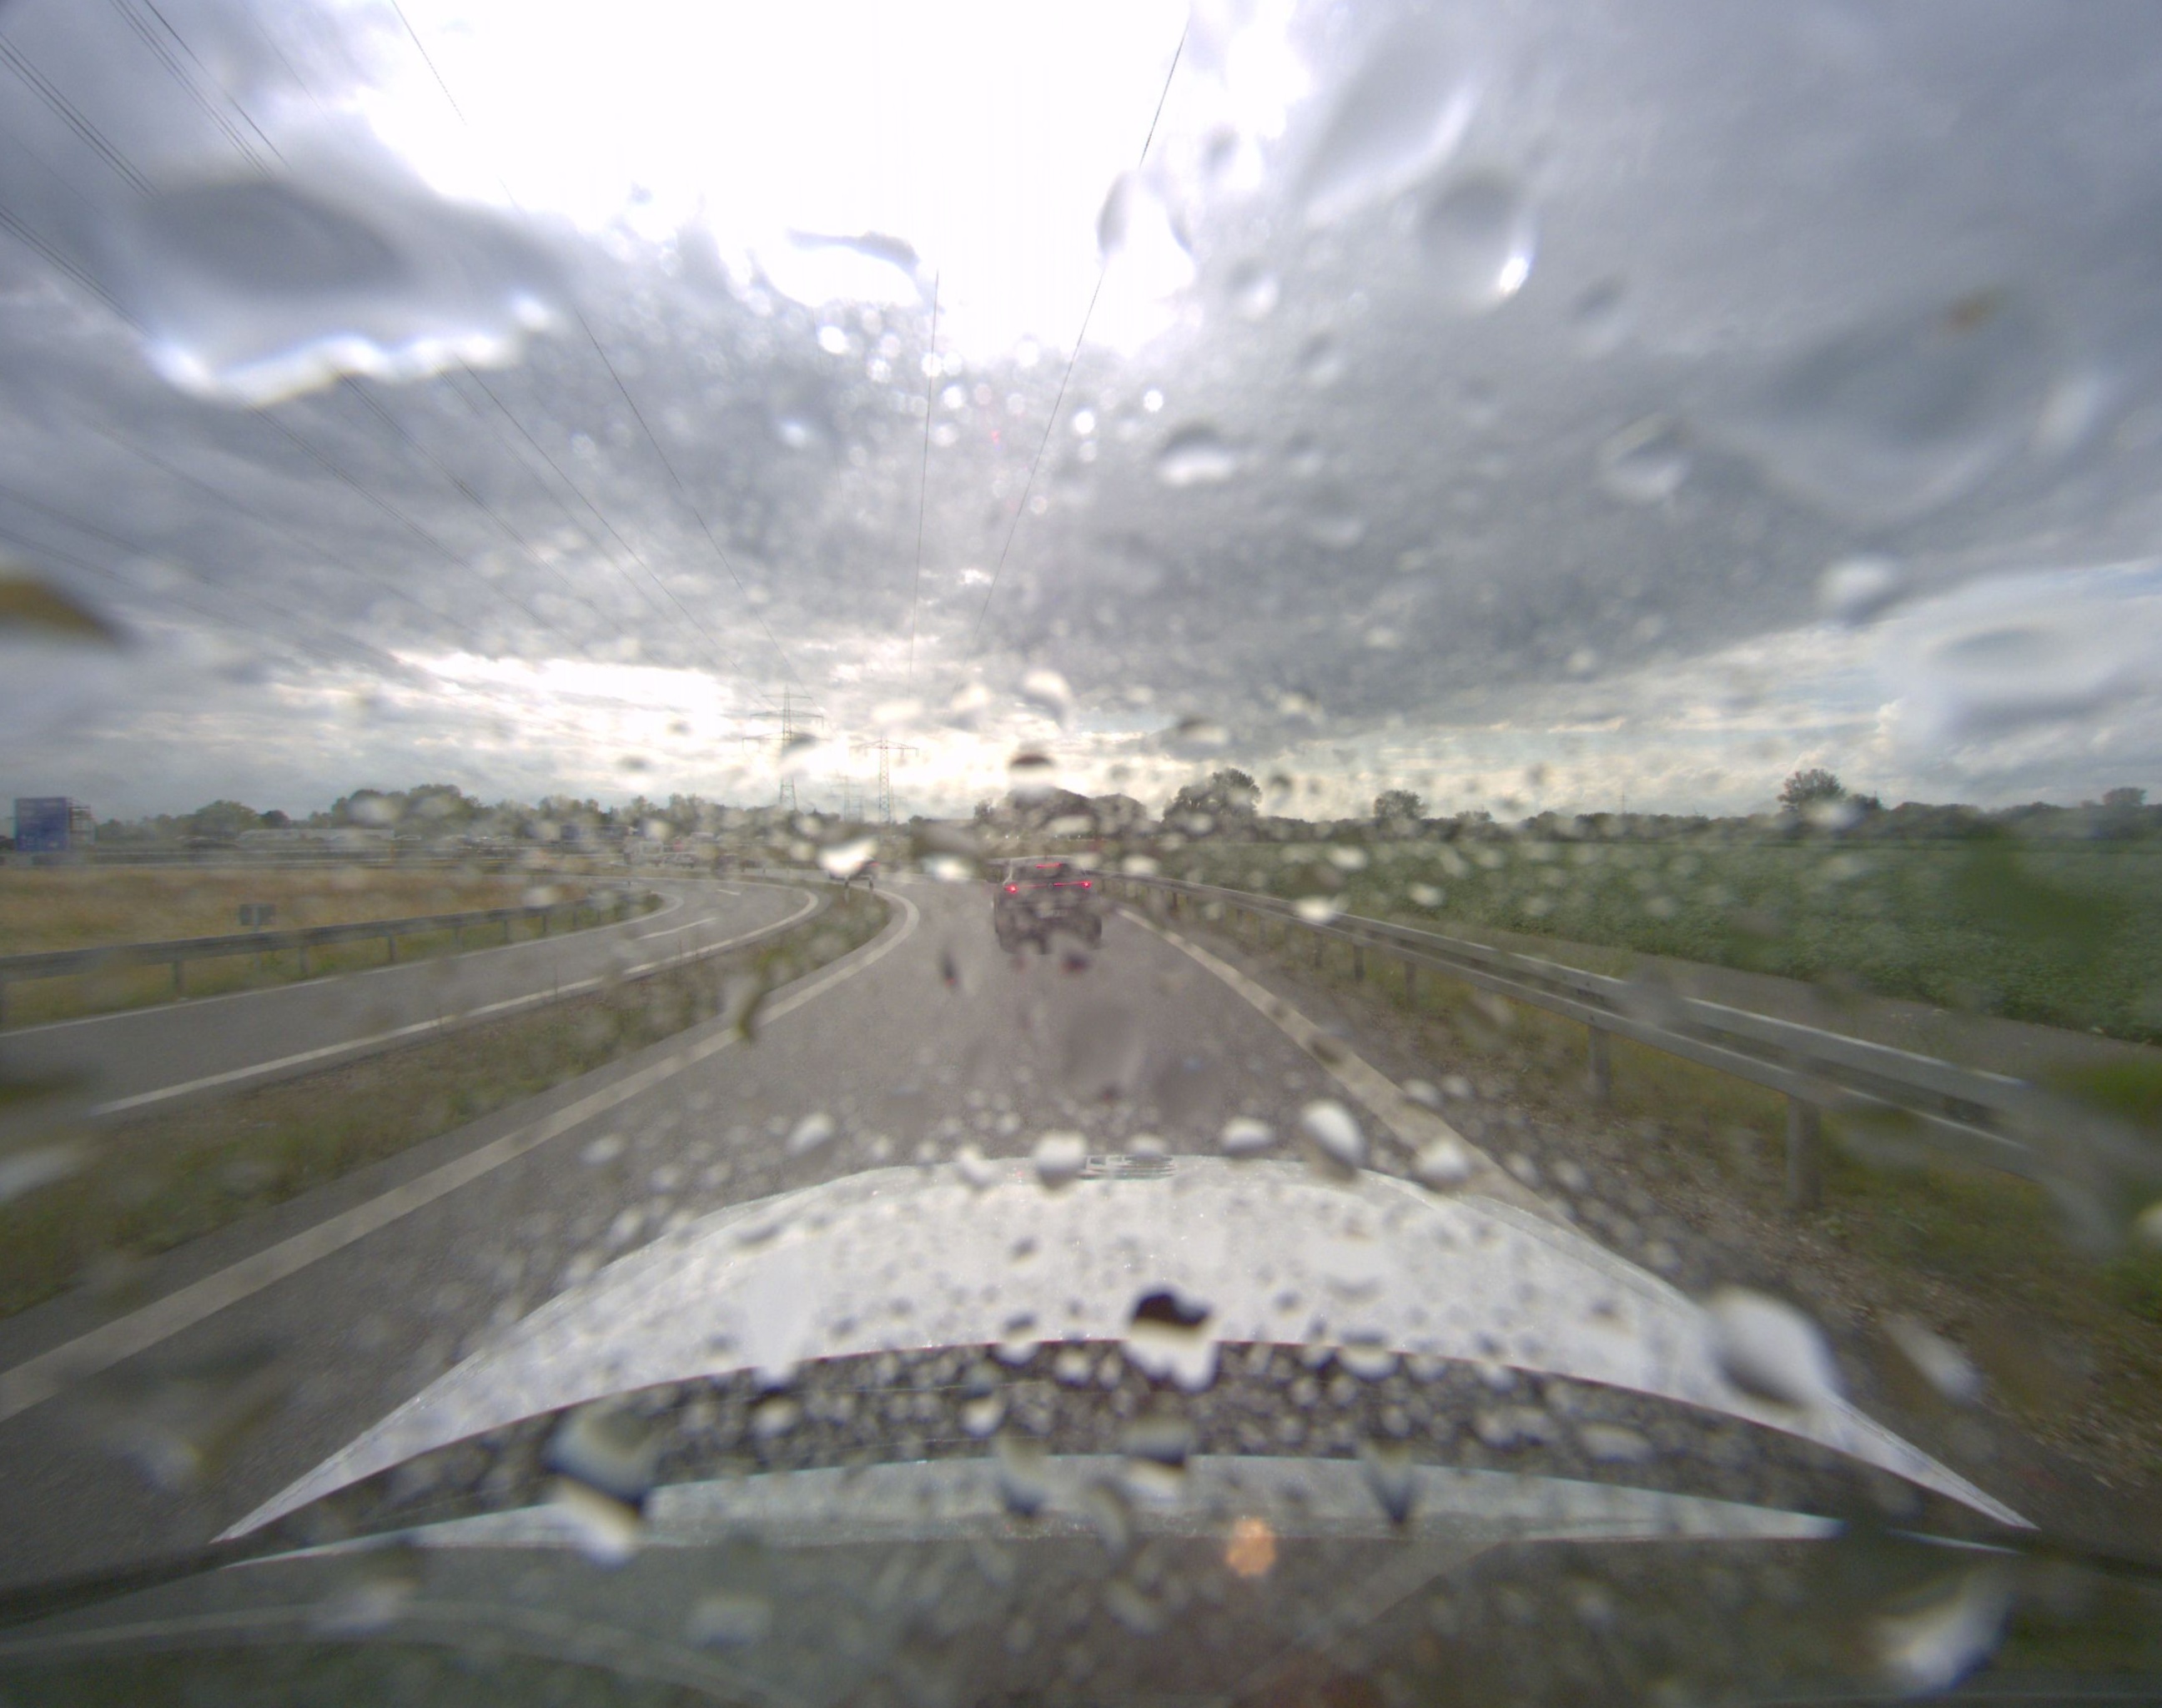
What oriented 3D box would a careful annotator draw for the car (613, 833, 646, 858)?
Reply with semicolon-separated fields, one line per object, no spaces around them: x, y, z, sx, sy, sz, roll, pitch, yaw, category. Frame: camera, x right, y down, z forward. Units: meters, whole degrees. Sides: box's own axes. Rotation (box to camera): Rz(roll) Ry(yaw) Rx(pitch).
-58.246;-1.176;105.243;3.151;2.950;7.152;-1;3;-25;car

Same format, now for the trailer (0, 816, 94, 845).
-140.512;-3.089;106.660;2.826;3.670;14.173;1;1;20;trailer

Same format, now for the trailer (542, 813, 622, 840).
-90.285;-5.025;147.769;3.023;4.634;13.371;1;3;19;trailer

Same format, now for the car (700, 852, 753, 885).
-29.113;1.130;66.777;2.372;2.306;5.067;-3;4;-43;car

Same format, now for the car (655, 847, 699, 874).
-38.909;0.543;78.335;2.372;2.306;5.067;-3;4;-43;car

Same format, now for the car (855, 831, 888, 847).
-50.845;-3.614;198.292;3.355;3.610;9.089;0;1;19;car

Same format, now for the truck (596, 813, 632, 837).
-88.212;-5.468;153.819;3.044;4.478;5.097;1;3;18;truck

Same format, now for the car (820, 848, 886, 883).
-14.285;0.642;50.843;2.137;2.018;5.474;0;1;-36;car

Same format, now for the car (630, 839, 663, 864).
-46.103;-0.304;86.420;2.369;2.306;5.073;-2;4;-36;car

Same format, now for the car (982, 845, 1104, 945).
-0.790;0.664;15.745;1.990;1.566;4.142;-3;1;-5;car
